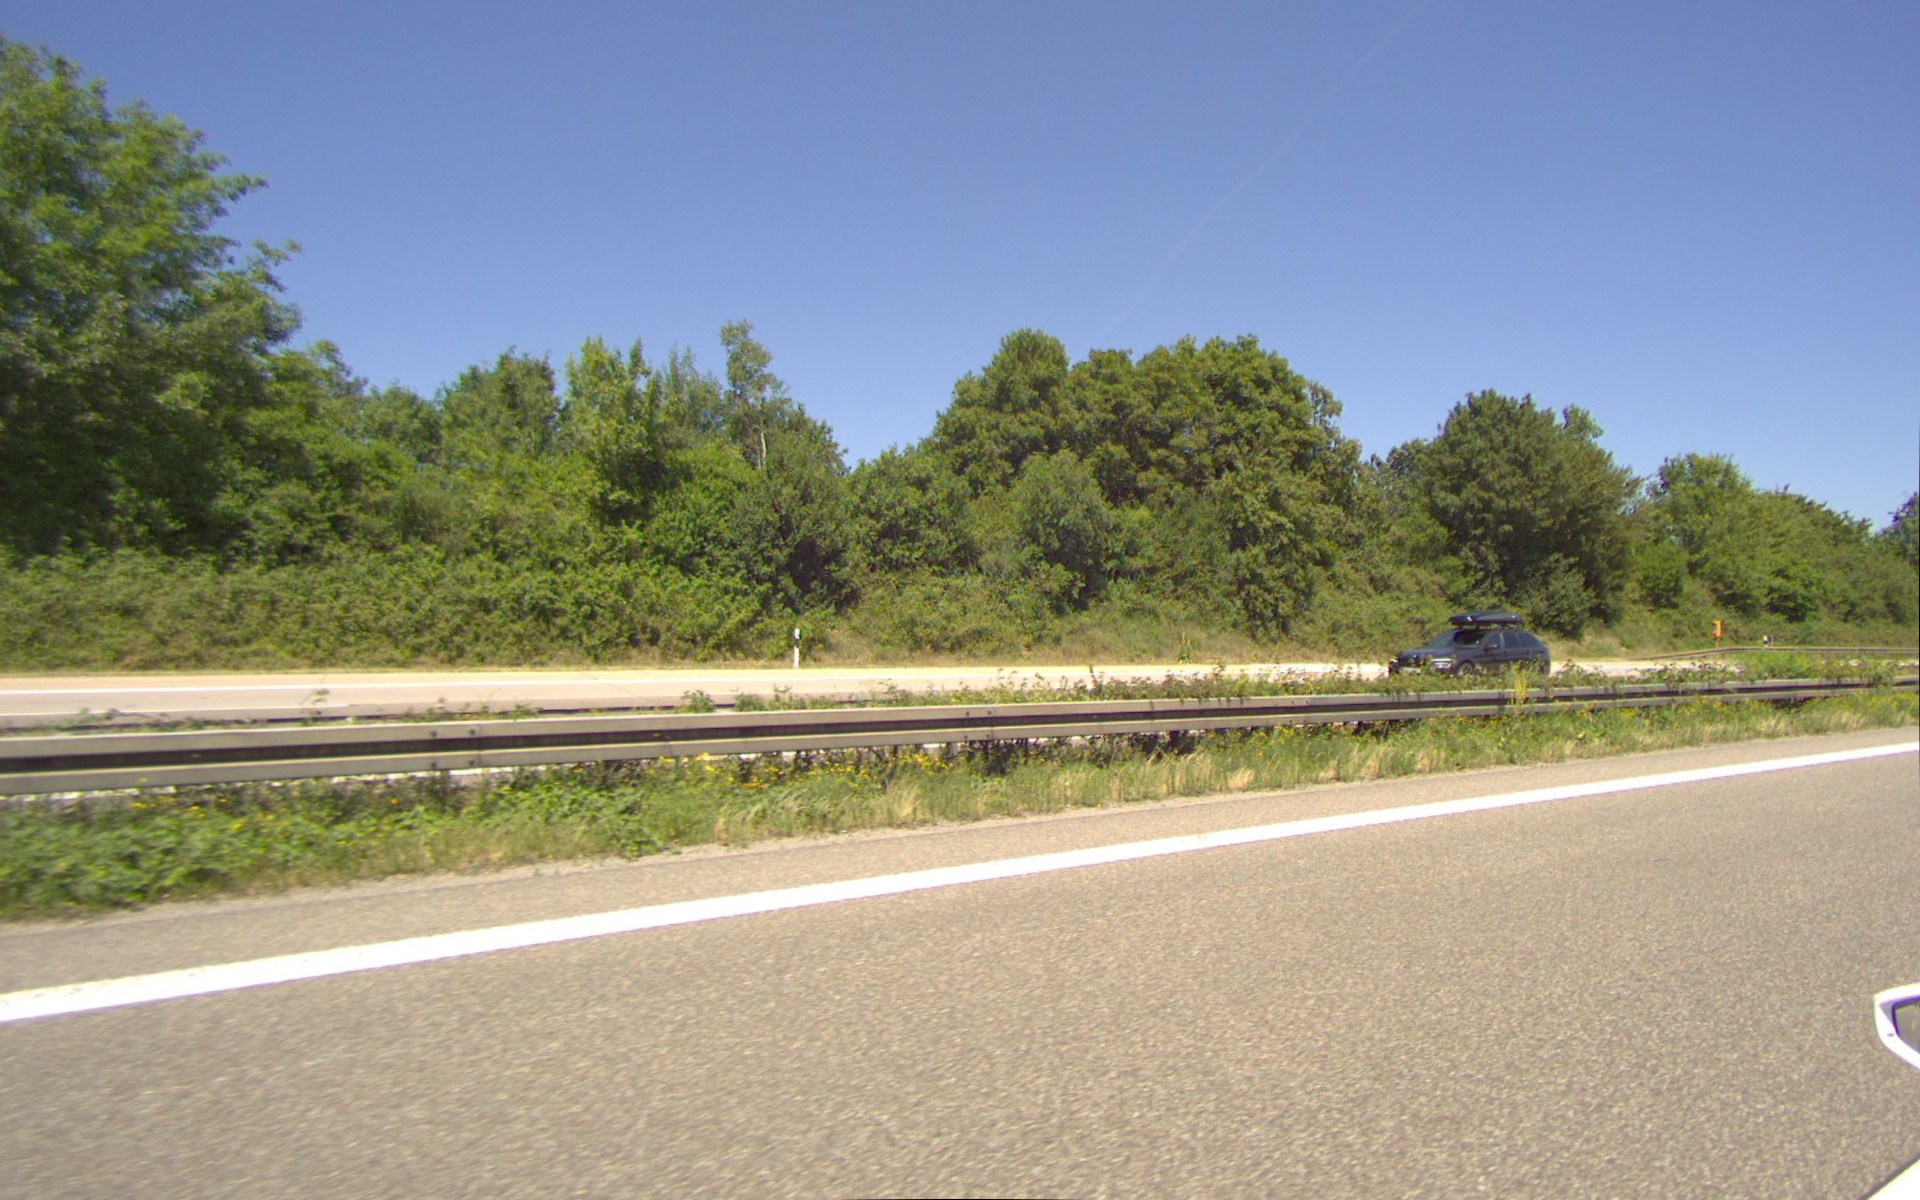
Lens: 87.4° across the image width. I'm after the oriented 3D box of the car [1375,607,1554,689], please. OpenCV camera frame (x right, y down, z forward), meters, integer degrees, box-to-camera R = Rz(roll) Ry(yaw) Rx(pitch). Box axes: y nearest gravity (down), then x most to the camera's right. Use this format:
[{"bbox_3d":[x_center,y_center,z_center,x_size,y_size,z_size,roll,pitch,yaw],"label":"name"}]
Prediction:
[{"bbox_3d":[13.044,1.200,25.857,4.900,1.931,1.817,2,-1,-32],"label":"car"}]
